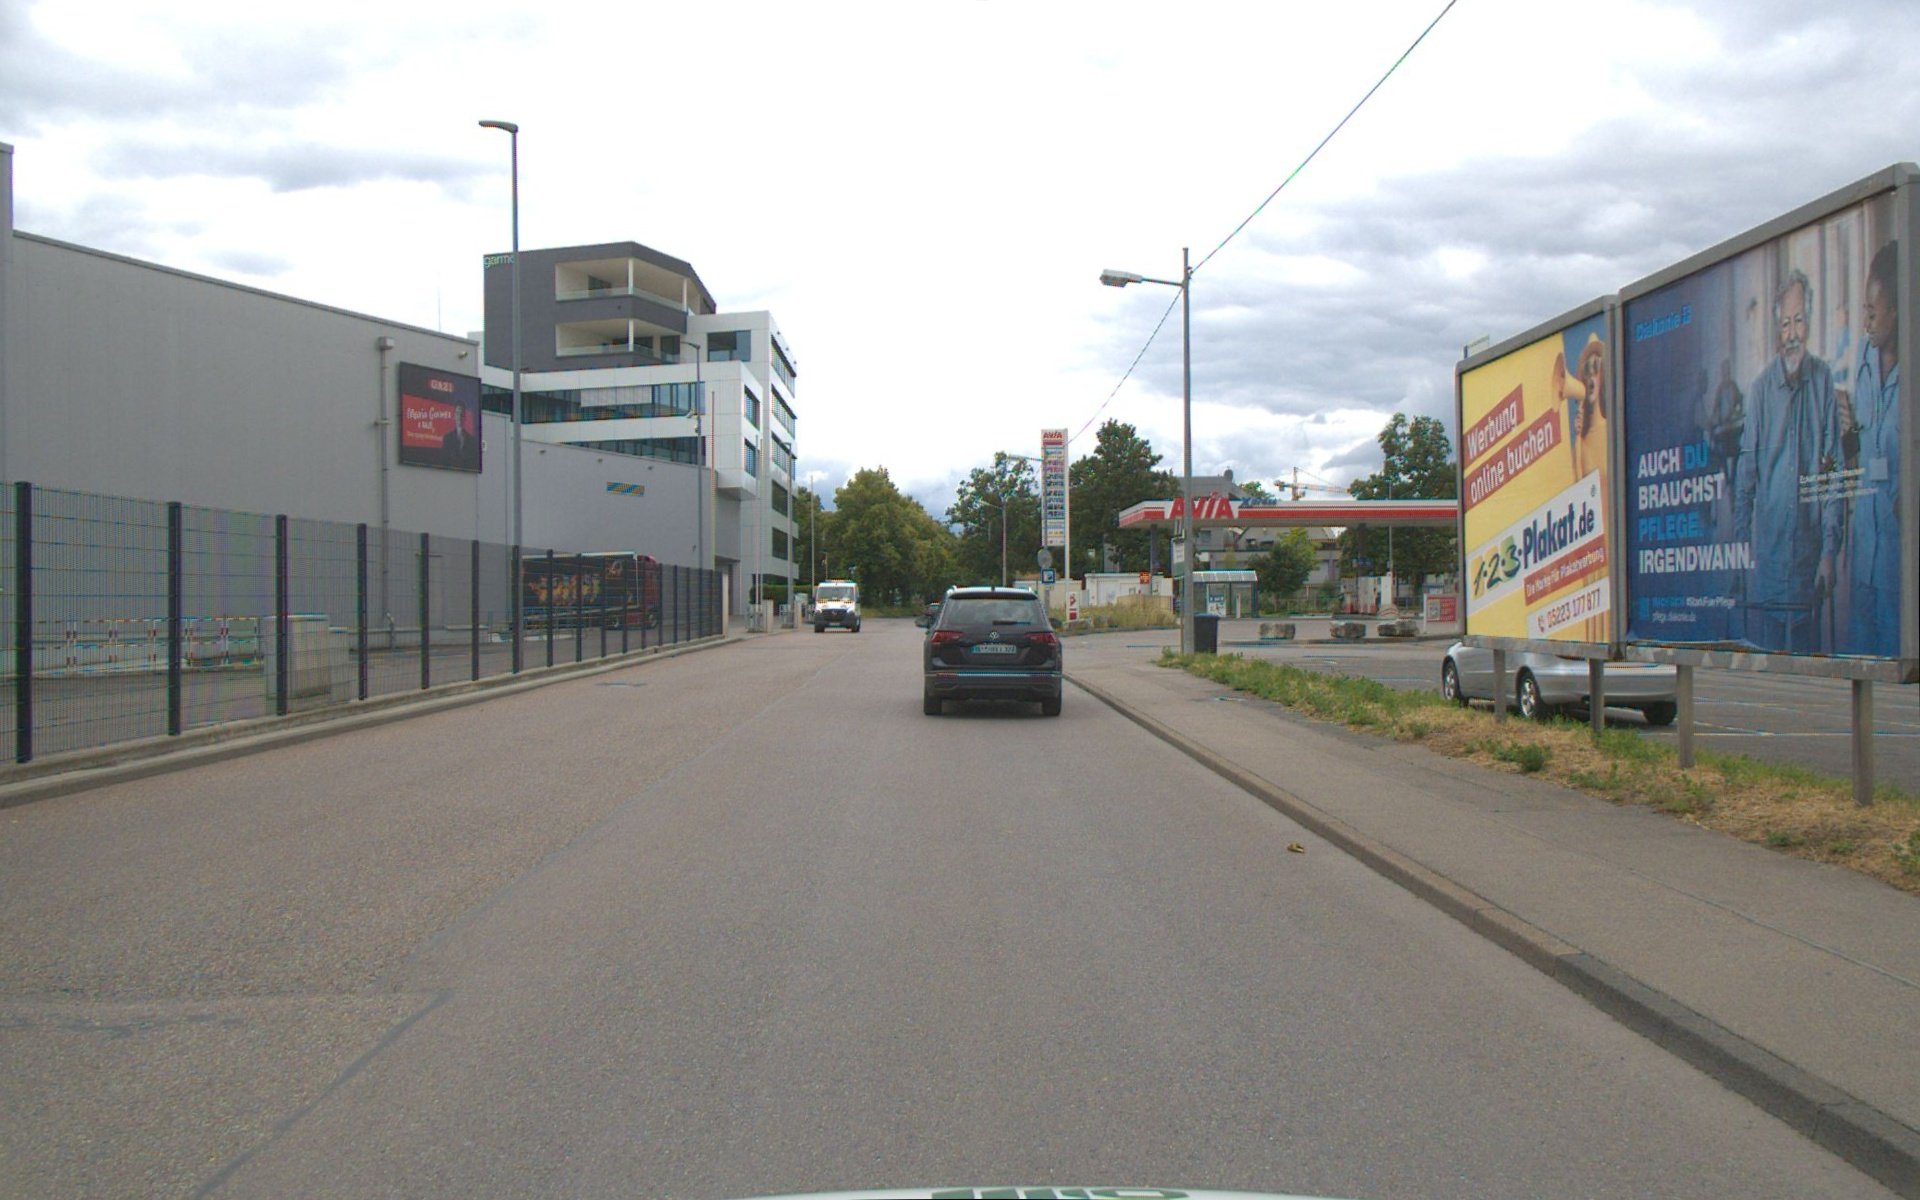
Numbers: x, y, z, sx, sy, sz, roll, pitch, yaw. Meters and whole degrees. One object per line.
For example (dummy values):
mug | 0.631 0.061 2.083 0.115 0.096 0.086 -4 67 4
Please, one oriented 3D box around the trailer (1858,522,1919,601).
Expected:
trailer | 47.024 -1.861 79.941 2.952 3.758 7.489 -1 1 -2

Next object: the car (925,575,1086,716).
car | 0.521 0.567 22.368 1.953 1.713 4.370 0 0 -1

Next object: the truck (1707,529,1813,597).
truck | 42.919 -1.964 88.930 2.970 3.523 5.505 -1 1 -1

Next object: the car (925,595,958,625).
car | -1.141 0.582 101.421 1.953 1.713 4.370 -1 1 -2

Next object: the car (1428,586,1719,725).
car | 7.279 0.609 20.146 1.851 1.470 4.428 1 0 -1

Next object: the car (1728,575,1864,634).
car | 26.028 0.131 51.652 1.954 1.736 4.185 -1 0 -3

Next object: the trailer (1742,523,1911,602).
trailer | 43.059 -1.834 82.654 2.971 3.691 10.137 -1 1 -1

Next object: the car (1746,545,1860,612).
car | 35.536 -0.902 69.890 2.048 2.694 5.370 -1 0 0

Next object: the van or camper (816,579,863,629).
van or camper | -5.589 0.180 77.275 1.953 2.296 3.999 0 0 -1

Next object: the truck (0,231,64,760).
truck | -9.140 -0.741 10.144 3.064 4.188 6.943 -4 0 2
